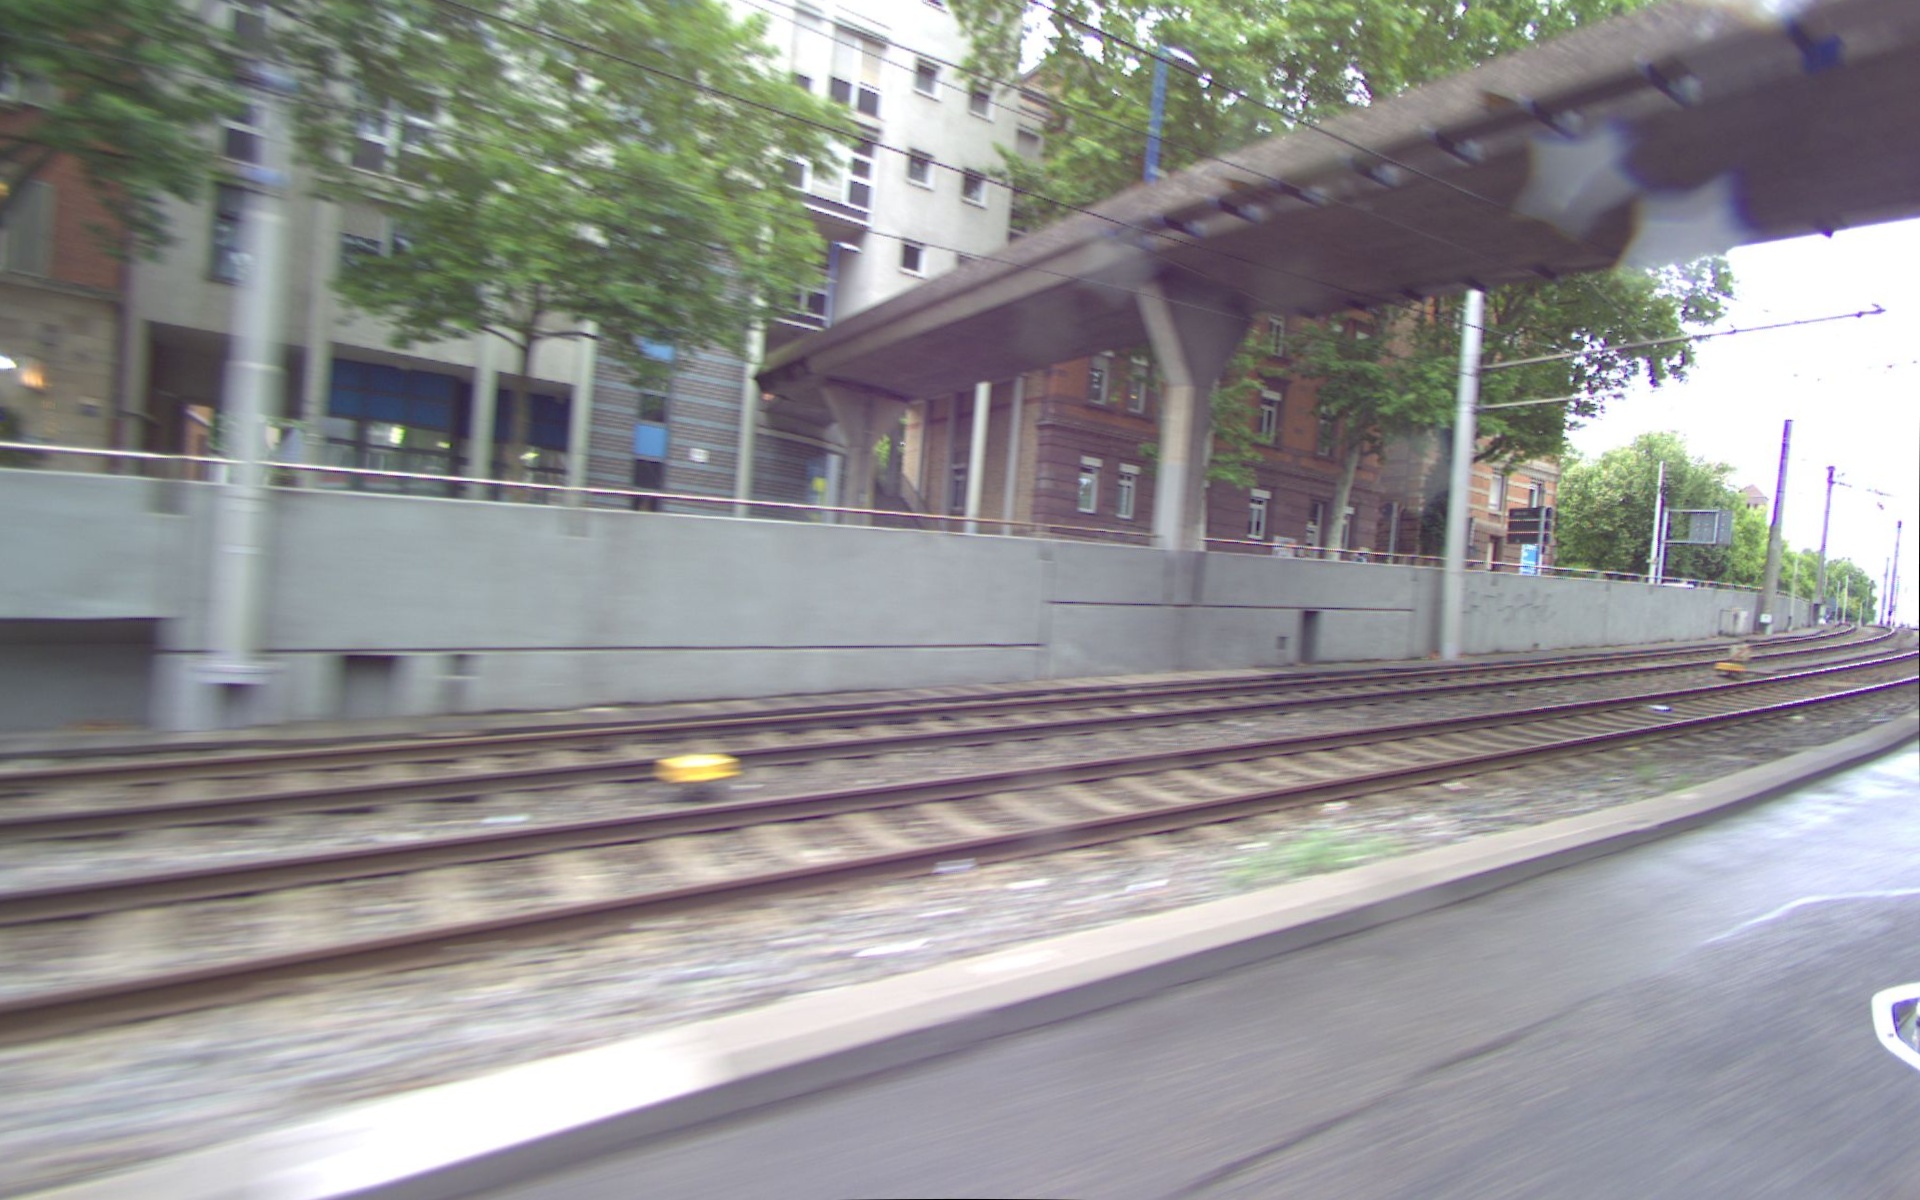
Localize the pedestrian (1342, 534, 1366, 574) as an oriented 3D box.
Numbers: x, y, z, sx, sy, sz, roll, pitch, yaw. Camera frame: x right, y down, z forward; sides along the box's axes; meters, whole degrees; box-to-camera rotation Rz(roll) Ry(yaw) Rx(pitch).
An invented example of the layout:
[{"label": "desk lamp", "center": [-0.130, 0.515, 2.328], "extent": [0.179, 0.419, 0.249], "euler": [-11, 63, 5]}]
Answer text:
[{"label": "pedestrian", "center": [16.471, -1.922, 42.004], "extent": [0.713, 1.646, 0.591], "euler": [0, 1, -26]}]

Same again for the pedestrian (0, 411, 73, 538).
[{"label": "pedestrian", "center": [-15.836, -2.118, 17.117], "extent": [0.924, 2.040, 0.665], "euler": [3, 4, -30]}]

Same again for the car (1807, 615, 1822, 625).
[{"label": "car", "center": [155.010, 3.623, 182.288], "extent": [1.775, 1.530, 3.826], "euler": [5, 3, 43]}]

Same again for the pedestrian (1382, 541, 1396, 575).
[{"label": "pedestrian", "center": [17.426, -1.690, 40.807], "extent": [0.500, 1.352, 0.331], "euler": [0, 2, -41]}]

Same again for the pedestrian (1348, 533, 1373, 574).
[{"label": "pedestrian", "center": [16.403, -1.881, 41.129], "extent": [0.713, 1.646, 0.591], "euler": [0, 1, -26]}]
